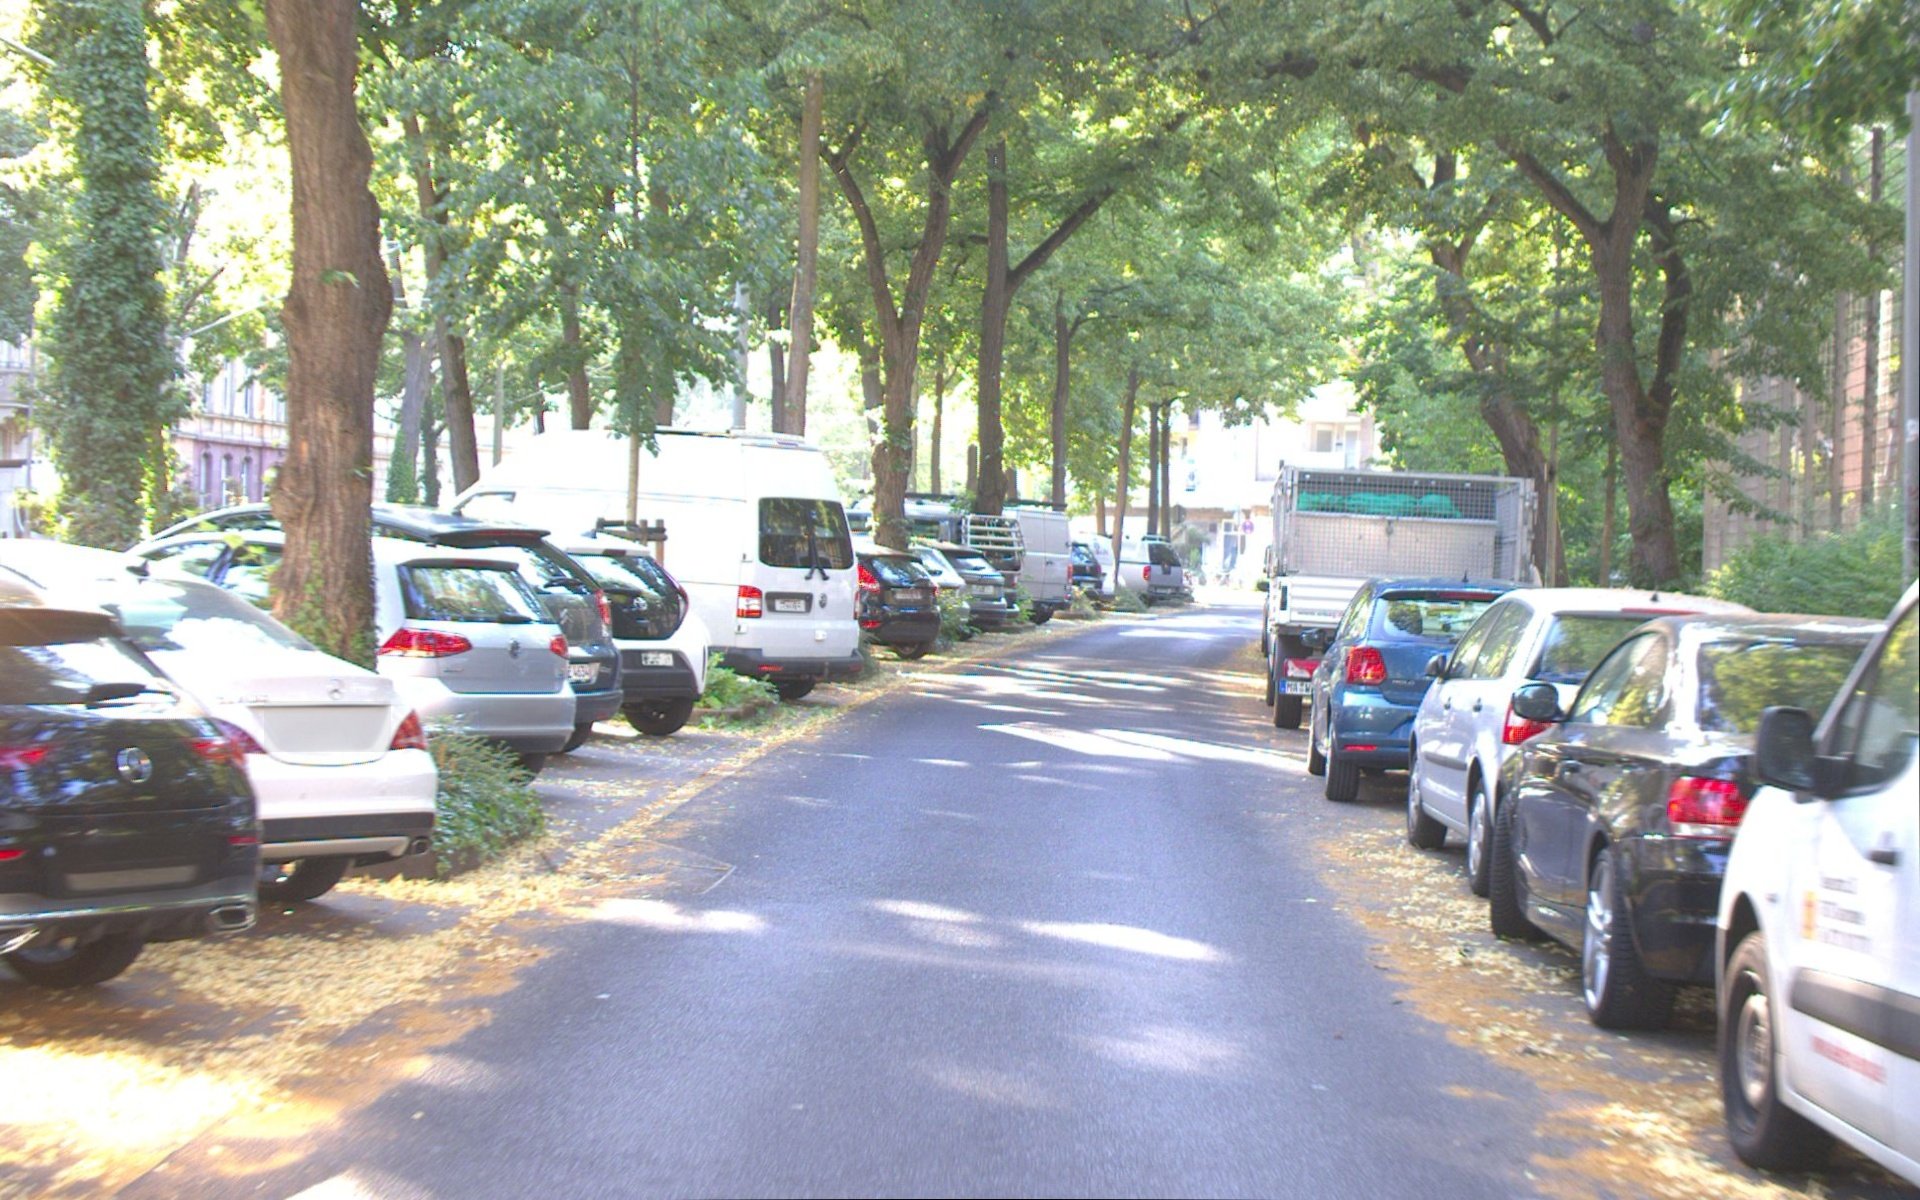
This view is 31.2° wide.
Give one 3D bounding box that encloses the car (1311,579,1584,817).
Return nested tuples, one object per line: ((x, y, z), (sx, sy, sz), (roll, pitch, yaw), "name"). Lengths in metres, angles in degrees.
((3.156, 0.585, 22.769), (1.571, 1.380, 3.600), (2, 1, 5), "car")

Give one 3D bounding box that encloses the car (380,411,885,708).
((-3.153, -0.408, 32.673), (4.495, 2.467, 1.815), (5, 1, 35), "car")

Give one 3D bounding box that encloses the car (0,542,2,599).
((-17.375, -1.191, 52.503), (5.261, 2.563, 2.269), (-2, 1, 32), "car")

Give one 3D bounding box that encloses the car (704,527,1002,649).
((-1.619, -0.188, 51.417), (4.087, 1.468, 1.815), (5, 1, 35), "car")

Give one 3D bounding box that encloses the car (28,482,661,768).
((-4.190, 0.155, 23.410), (3.822, 1.581, 1.735), (5, 0, 24), "car")

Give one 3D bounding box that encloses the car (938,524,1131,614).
((1.743, -0.734, 81.014), (4.087, 1.783, 1.815), (5, 1, 35), "car")

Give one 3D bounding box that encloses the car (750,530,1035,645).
((-1.081, -0.207, 54.047), (4.087, 1.468, 1.815), (5, 1, 35), "car")

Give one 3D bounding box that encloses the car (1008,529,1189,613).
((3.469, -0.731, 86.413), (4.087, 1.783, 1.815), (5, 1, 35), "car")

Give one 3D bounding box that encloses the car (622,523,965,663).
((-2.174, -0.098, 44.551), (4.087, 1.468, 1.815), (5, 1, 35), "car")

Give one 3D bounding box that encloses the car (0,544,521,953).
((-3.954, 0.480, 14.166), (3.822, 1.386, 1.735), (5, 1, 24), "car")

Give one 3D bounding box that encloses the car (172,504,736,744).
((-3.854, 0.174, 26.205), (3.822, 1.476, 1.735), (5, 1, 24), "car")

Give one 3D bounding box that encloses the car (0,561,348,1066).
((-4.132, 0.500, 11.144), (3.822, 1.386, 1.735), (5, 1, 24), "car")

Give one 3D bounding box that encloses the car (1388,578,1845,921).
((3.170, 0.659, 17.236), (1.571, 1.462, 3.600), (1, 1, 0), "car")

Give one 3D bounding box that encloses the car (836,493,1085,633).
((-0.010, -0.683, 62.728), (4.087, 2.202, 1.815), (5, 1, 35), "car")

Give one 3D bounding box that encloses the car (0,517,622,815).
((-4.155, 0.347, 20.445), (3.822, 1.416, 1.735), (5, 1, 24), "car")

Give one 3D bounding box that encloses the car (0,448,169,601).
((-16.898, -1.282, 61.387), (5.261, 2.563, 2.269), (-2, 1, 32), "car")

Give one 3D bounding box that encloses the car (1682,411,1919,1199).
((2.790, 0.567, 7.459), (1.571, 1.897, 3.902), (1, 1, 0), "car")

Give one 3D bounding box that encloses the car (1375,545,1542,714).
((5.191, 0.268, 36.120), (1.571, 1.643, 3.600), (2, 1, 6), "car")

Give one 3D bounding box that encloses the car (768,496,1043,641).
((-0.916, -0.529, 56.472), (4.087, 2.033, 1.815), (5, 1, 35), "car")

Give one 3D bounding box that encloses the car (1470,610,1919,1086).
((2.912, 0.783, 12.439), (1.571, 1.381, 3.600), (1, 1, 0), "car")

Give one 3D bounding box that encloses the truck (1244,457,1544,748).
((3.770, -0.018, 30.662), (2.367, 2.344, 4.383), (2, 1, 4), "truck")

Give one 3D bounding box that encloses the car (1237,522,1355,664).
((4.890, -0.123, 49.736), (1.571, 1.934, 3.599), (2, 1, 7), "car")

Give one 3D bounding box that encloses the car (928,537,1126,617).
((1.507, -0.531, 78.140), (4.087, 1.468, 1.815), (5, 1, 35), "car")
